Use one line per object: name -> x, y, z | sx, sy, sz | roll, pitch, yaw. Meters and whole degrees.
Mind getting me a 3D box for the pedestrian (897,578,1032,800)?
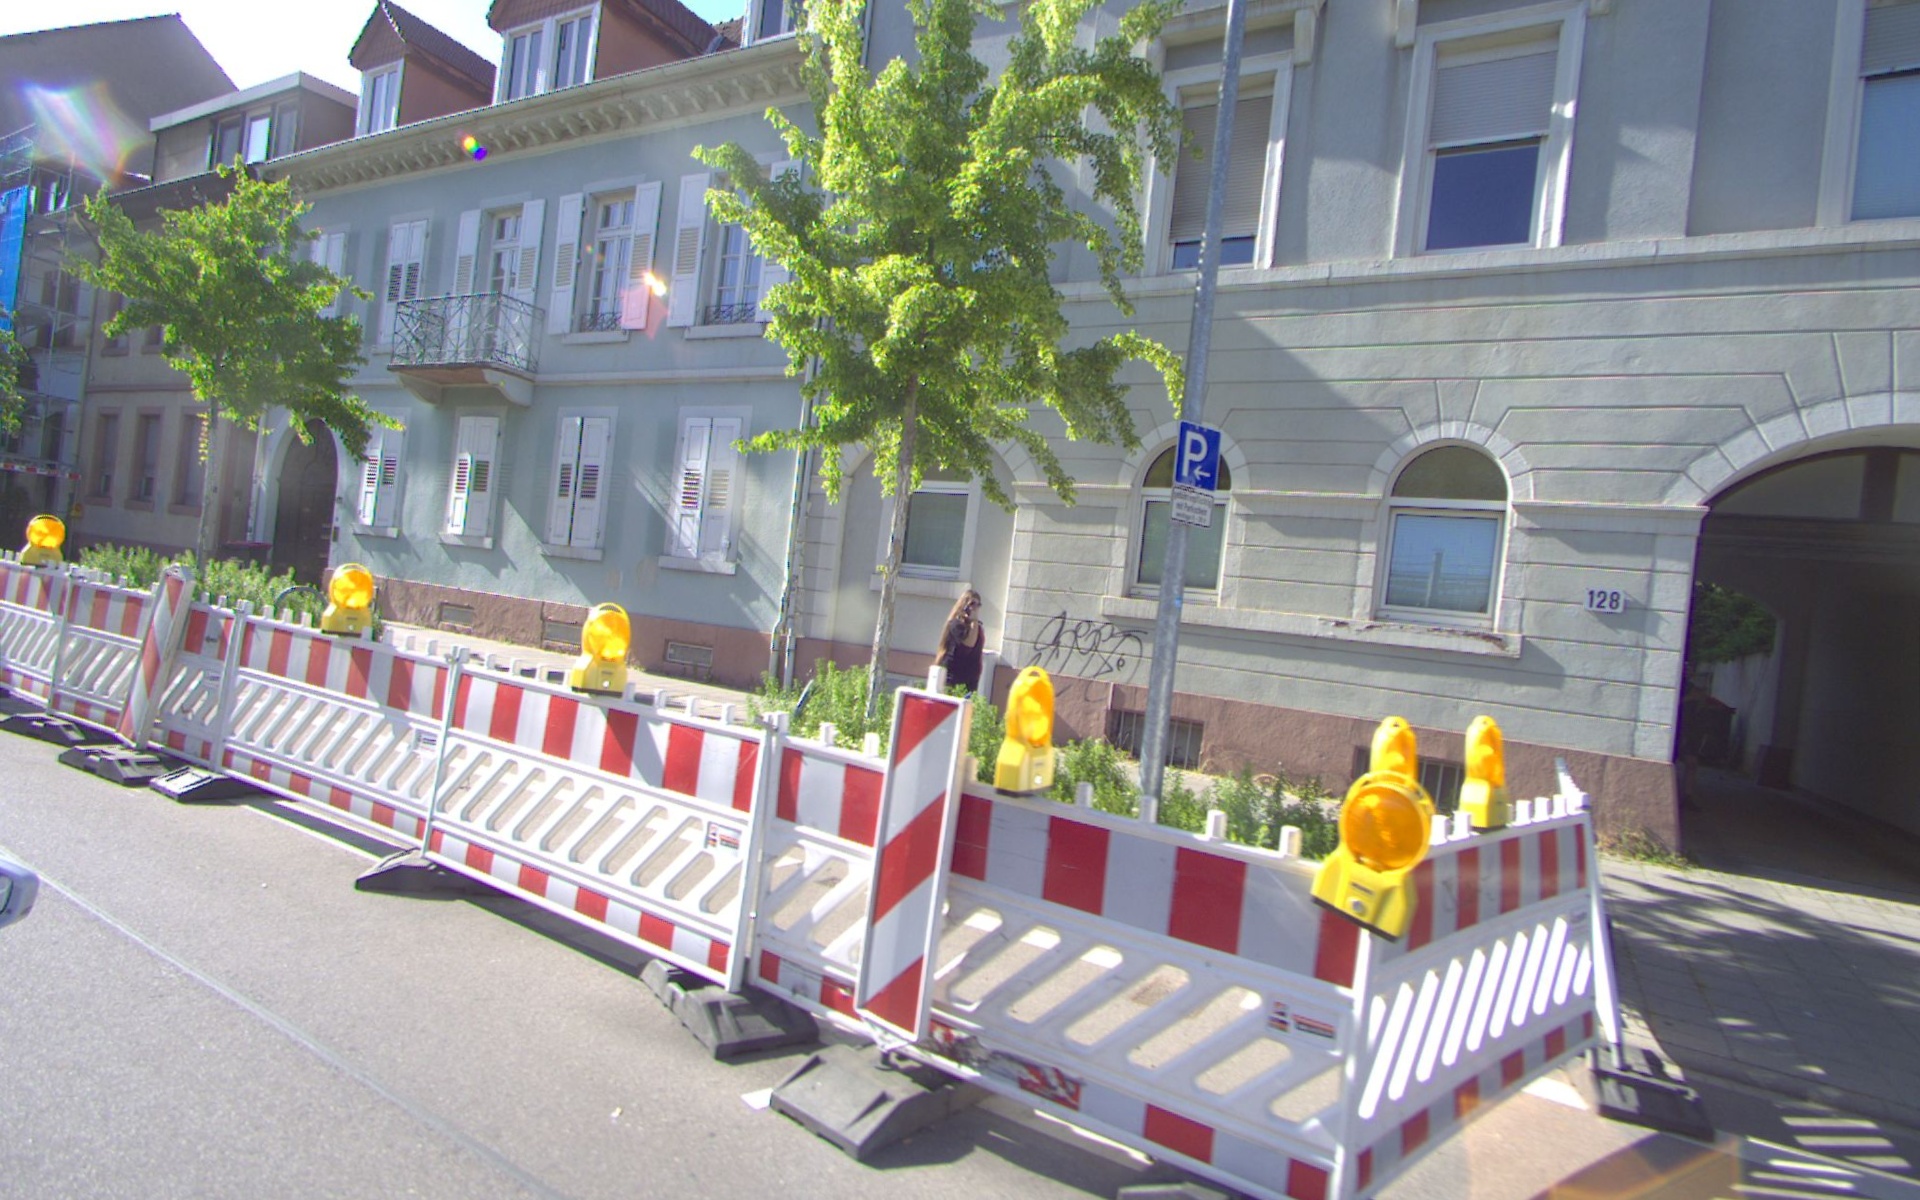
pedestrian -> 0.052, 0.833, 9.596 | 0.757, 1.951, 0.794 | 7, -1, 31
